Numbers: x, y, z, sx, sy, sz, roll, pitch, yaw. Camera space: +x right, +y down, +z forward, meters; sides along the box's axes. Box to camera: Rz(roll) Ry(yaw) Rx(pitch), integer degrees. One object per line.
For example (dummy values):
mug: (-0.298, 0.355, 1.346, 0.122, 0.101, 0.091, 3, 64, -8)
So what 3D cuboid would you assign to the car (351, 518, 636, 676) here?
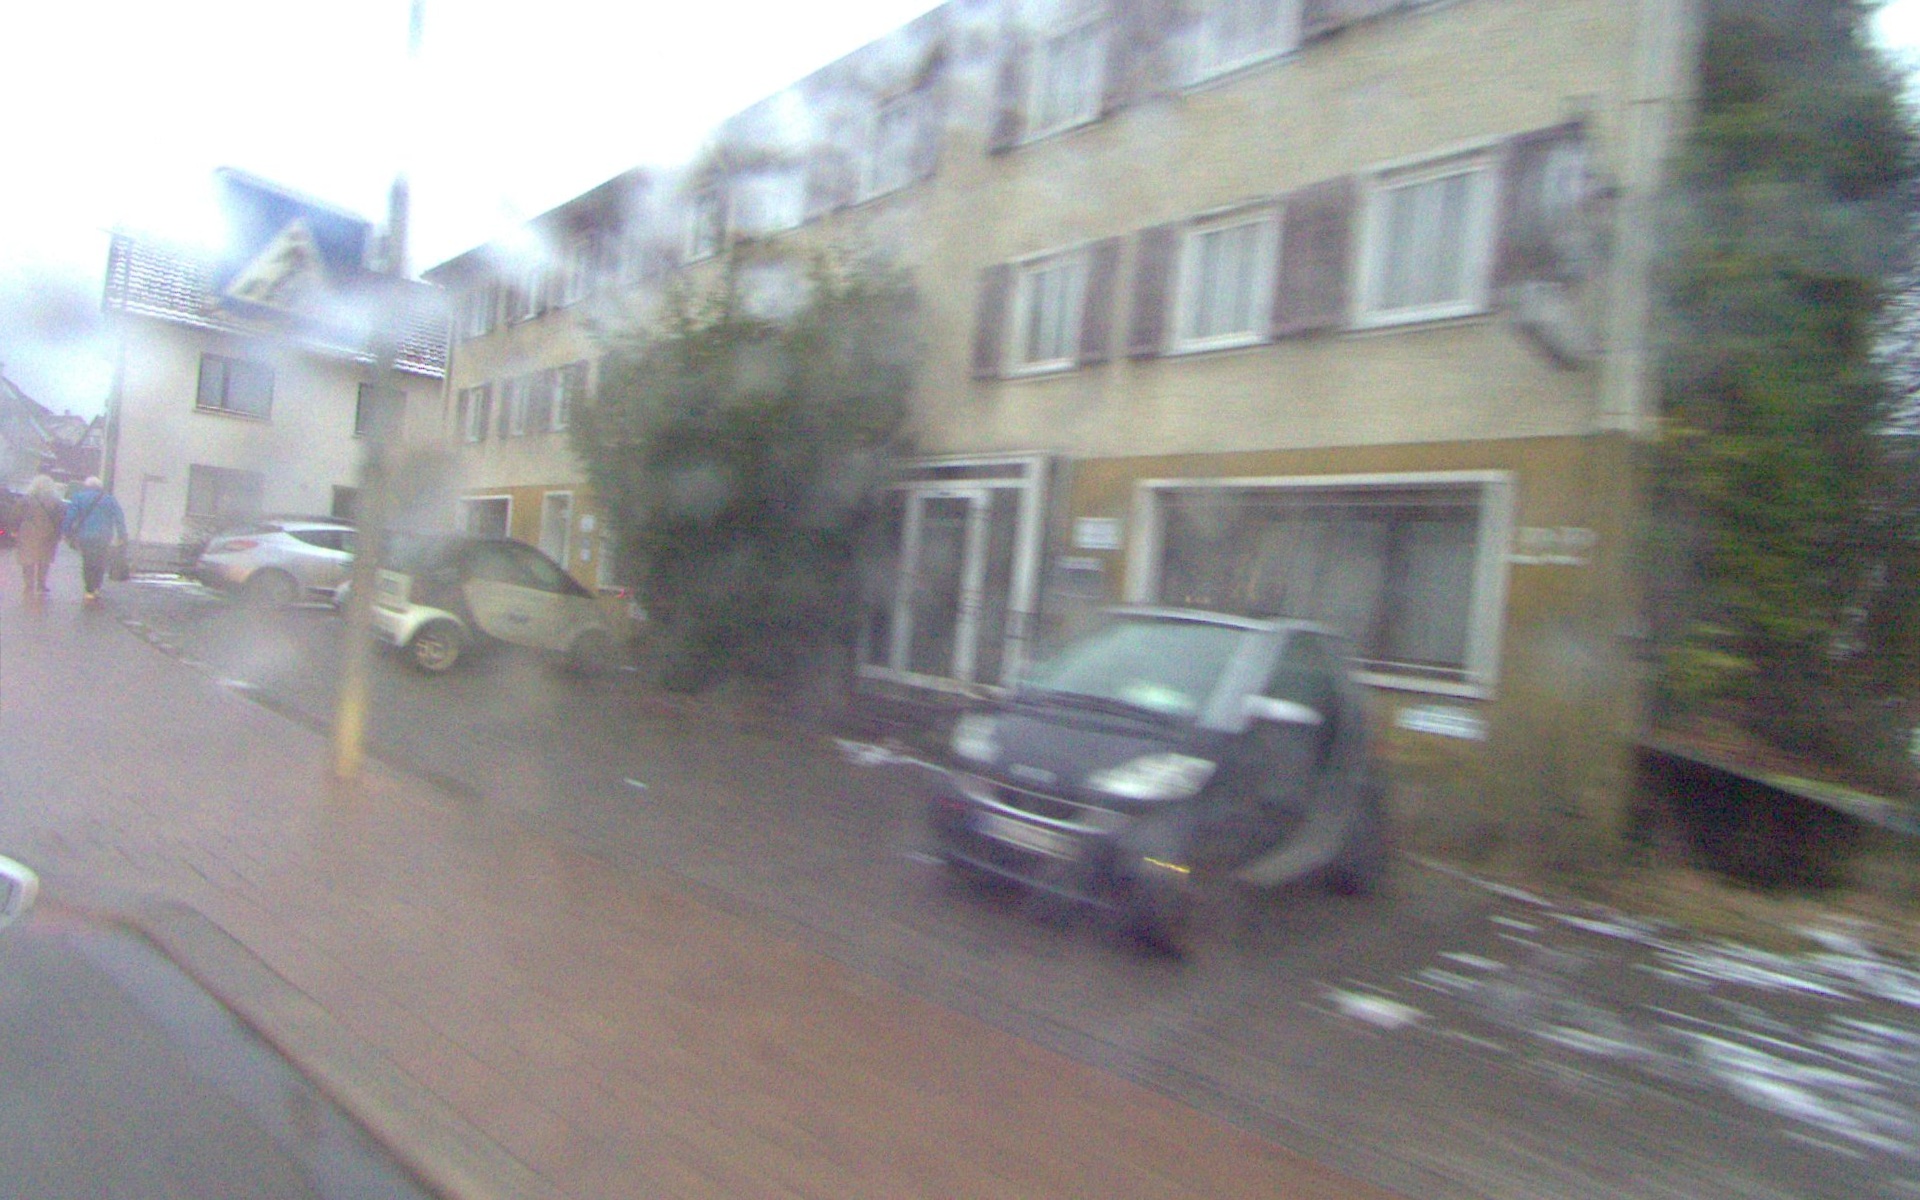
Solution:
car: (-5.452, 0.004, 11.875, 1.530, 1.567, 2.577, 8, 2, 42)

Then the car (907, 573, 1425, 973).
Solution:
car: (1.245, 0.757, 5.438, 1.407, 1.493, 2.756, 7, 1, 42)

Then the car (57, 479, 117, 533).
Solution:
car: (-45.236, -4.837, 52.181, 1.803, 2.443, 3.715, 6, 0, -36)

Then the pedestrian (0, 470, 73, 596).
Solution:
pedestrian: (-13.194, -0.949, 14.252, 0.862, 1.689, 0.981, 2, 4, -40)

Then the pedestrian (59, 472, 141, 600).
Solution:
pedestrian: (-12.558, -0.930, 14.725, 0.843, 1.757, 0.961, 2, 4, -40)

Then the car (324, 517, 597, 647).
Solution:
car: (-6.980, -0.217, 14.206, 3.055, 1.493, 1.530, 5, 1, -45)

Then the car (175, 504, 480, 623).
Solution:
car: (-10.250, -0.555, 16.481, 3.887, 1.493, 1.728, 5, 1, -45)

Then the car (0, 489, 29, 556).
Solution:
car: (-26.152, -2.194, 26.644, 1.841, 1.656, 4.287, 8, -1, -40)
